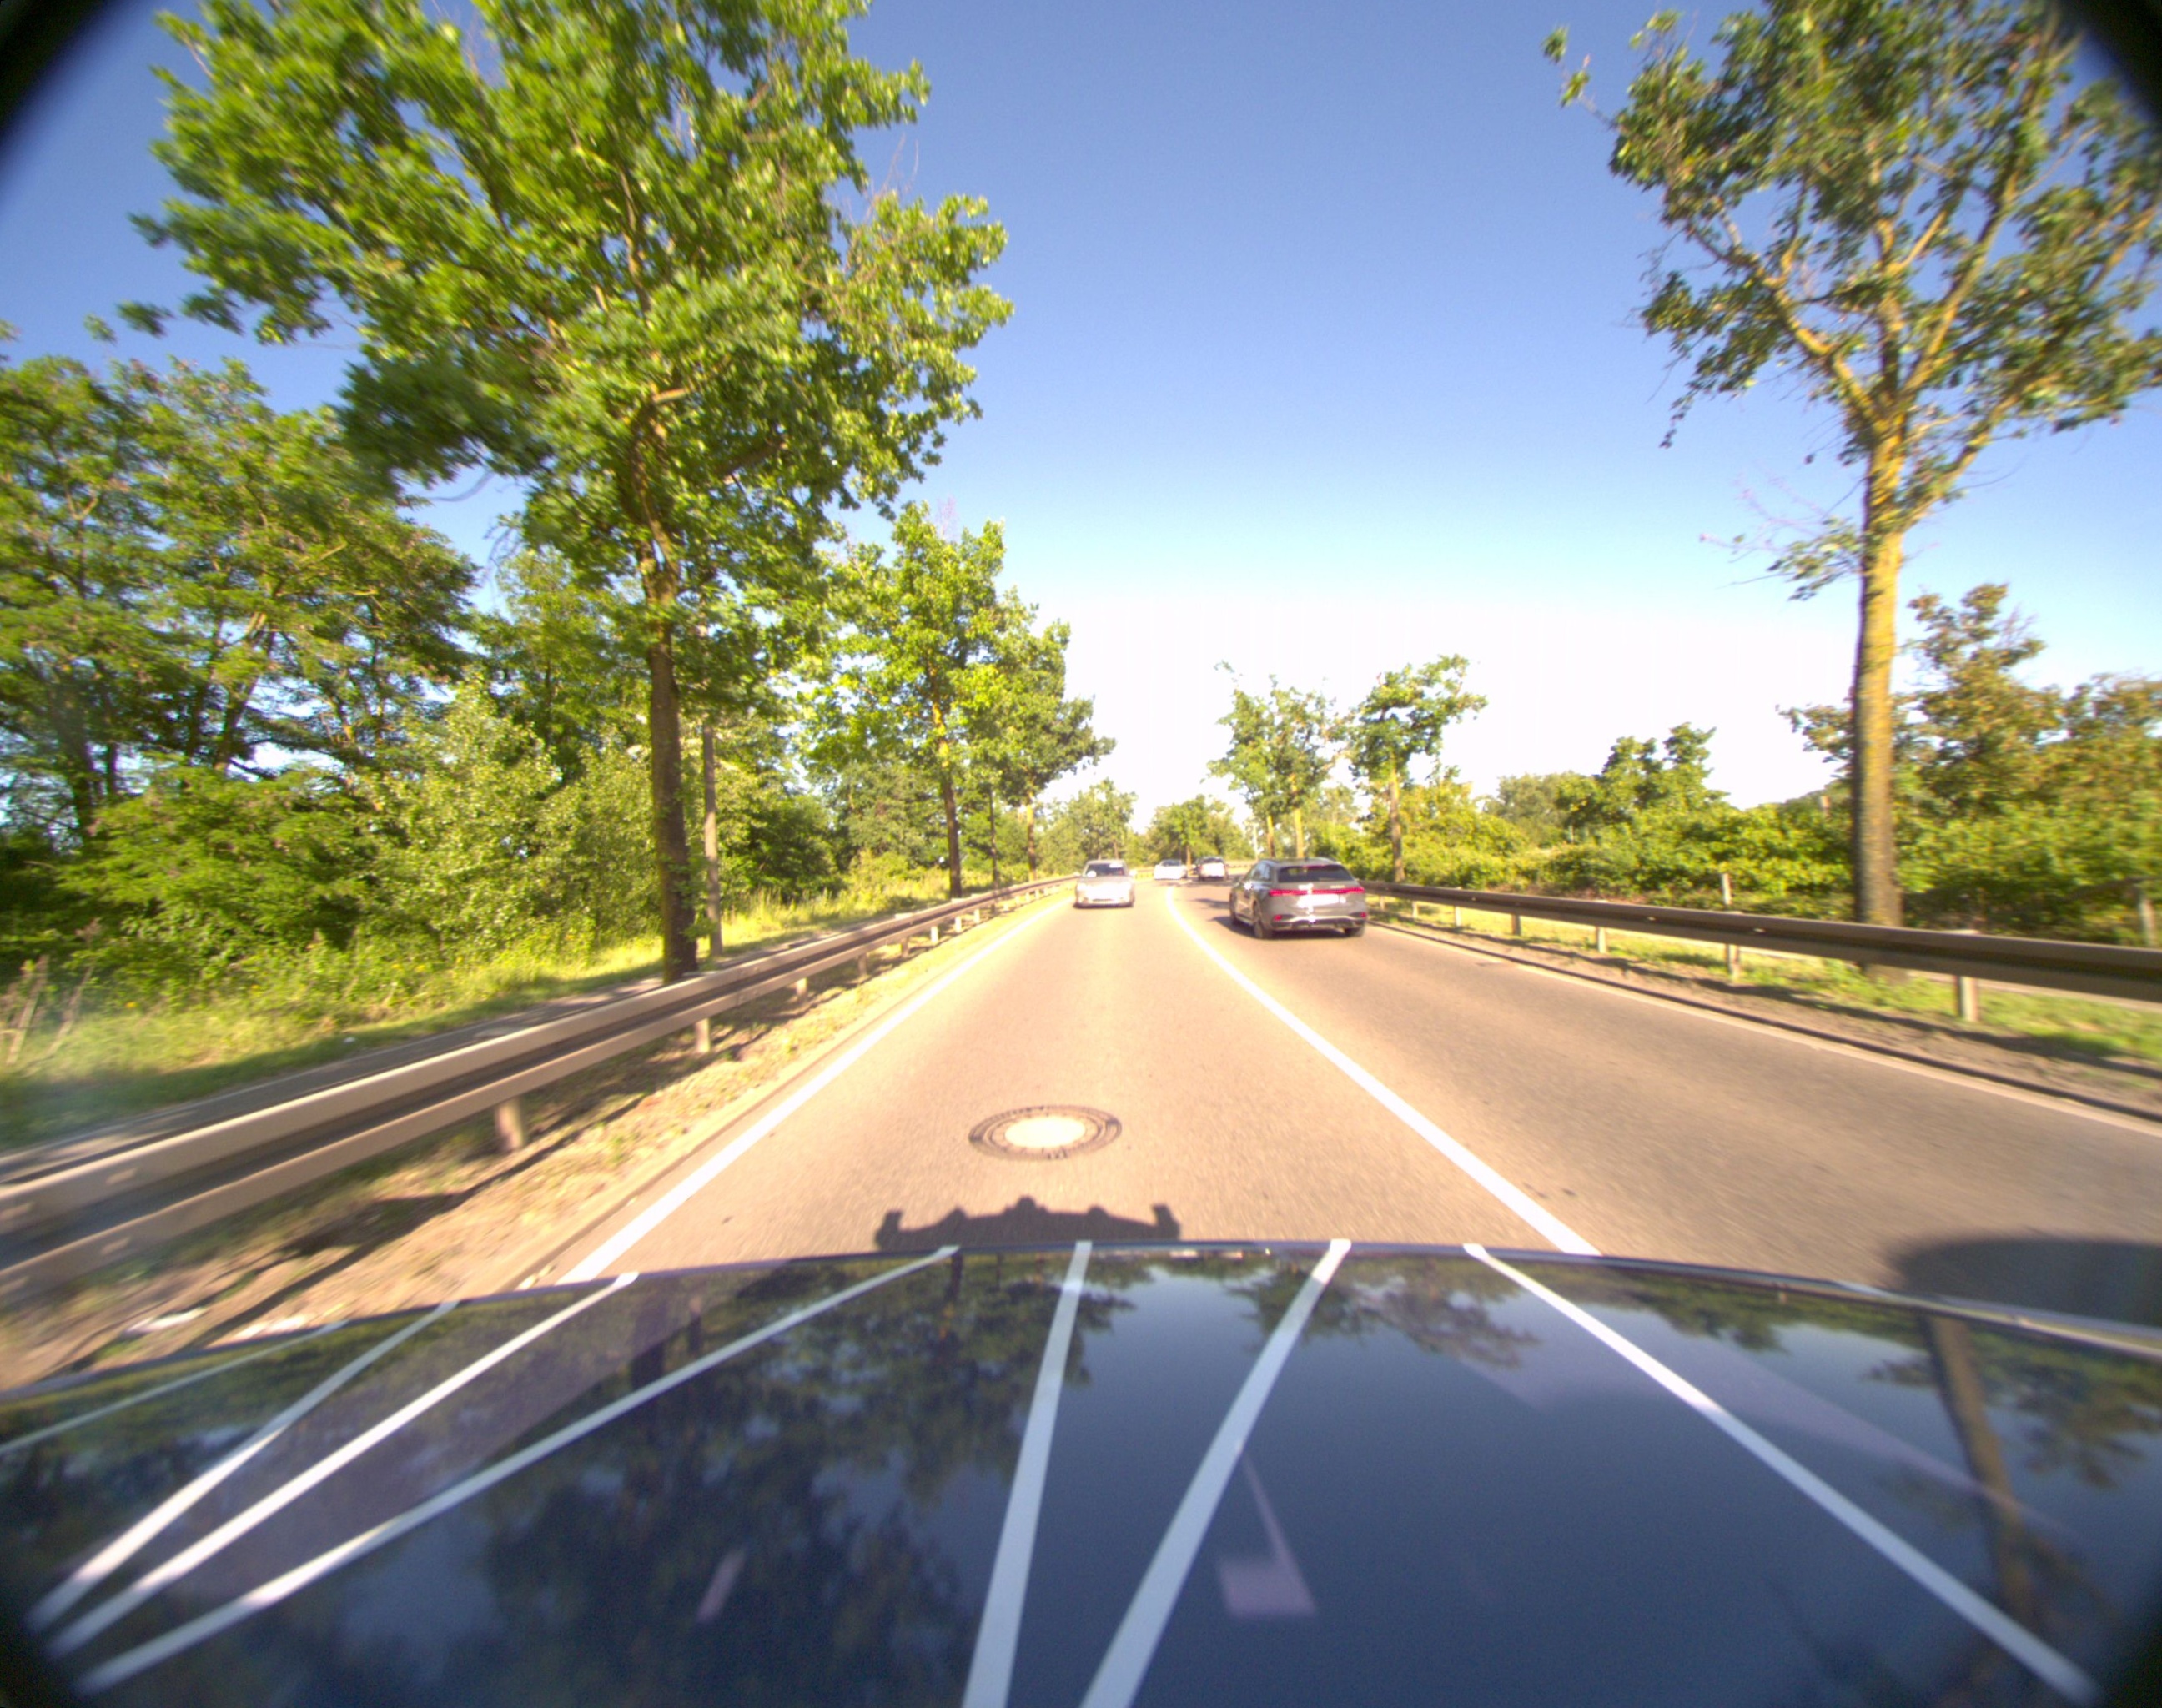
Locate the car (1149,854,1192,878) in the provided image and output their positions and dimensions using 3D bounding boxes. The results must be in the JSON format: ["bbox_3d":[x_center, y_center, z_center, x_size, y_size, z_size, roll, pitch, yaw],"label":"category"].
[{"bbox_3d":[6.583,0.856,55.381,2.146,1.558,4.204,-1,0,21],"label":"car"}]

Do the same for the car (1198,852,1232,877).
[{"bbox_3d":[8.689,0.659,49.106,1.811,1.545,4.145,-1,0,14],"label":"car"}]

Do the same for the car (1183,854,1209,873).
[{"bbox_3d":[11.129,0.936,73.319,1.680,1.694,3.611,-2,0,22],"label":"car"}]

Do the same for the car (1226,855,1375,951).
[{"bbox_3d":[3.996,0.797,14.641,1.853,1.483,4.718,-2,0,5],"label":"car"}]

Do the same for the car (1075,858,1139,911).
[{"bbox_3d":[0.901,0.892,23.830,1.682,1.433,3.860,-2,0,6],"label":"car"}]
